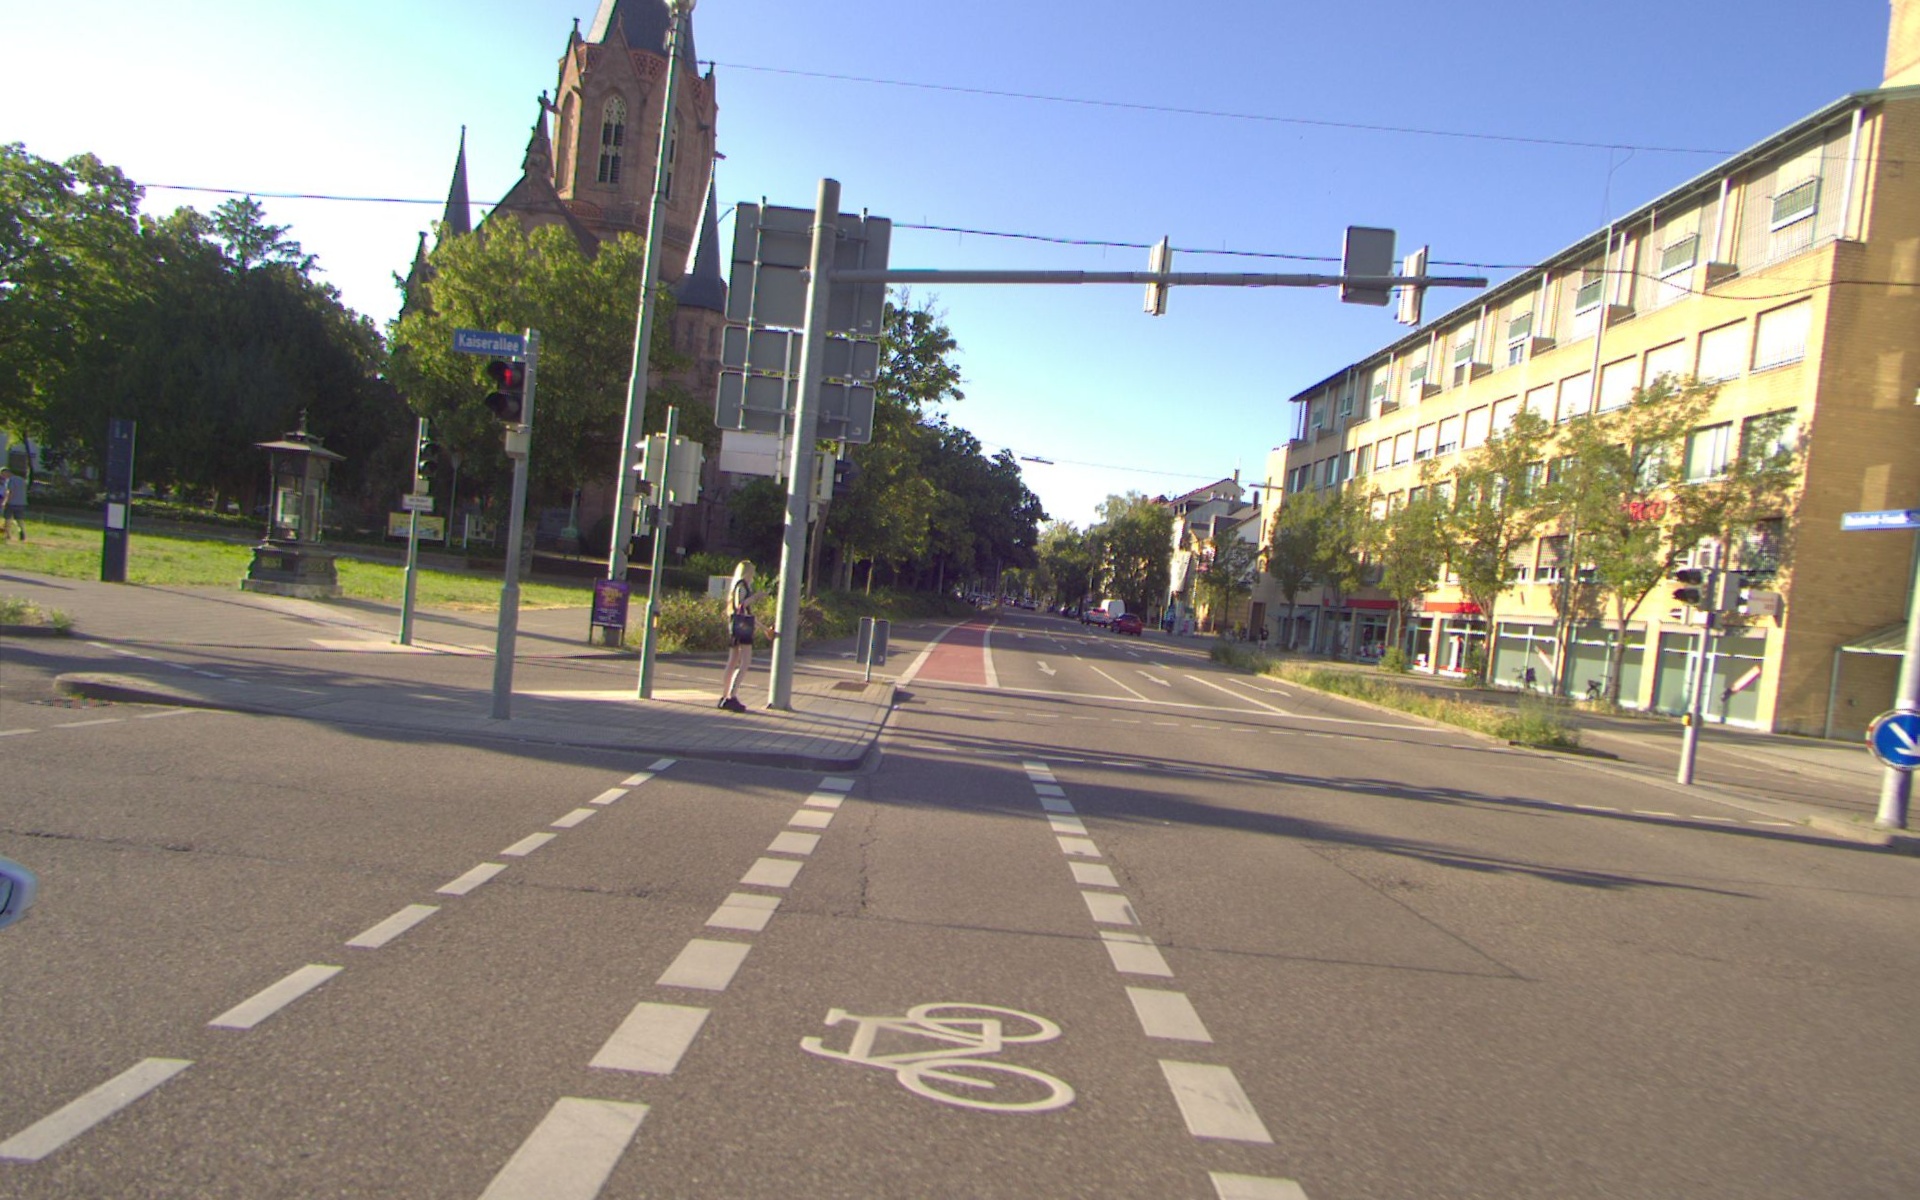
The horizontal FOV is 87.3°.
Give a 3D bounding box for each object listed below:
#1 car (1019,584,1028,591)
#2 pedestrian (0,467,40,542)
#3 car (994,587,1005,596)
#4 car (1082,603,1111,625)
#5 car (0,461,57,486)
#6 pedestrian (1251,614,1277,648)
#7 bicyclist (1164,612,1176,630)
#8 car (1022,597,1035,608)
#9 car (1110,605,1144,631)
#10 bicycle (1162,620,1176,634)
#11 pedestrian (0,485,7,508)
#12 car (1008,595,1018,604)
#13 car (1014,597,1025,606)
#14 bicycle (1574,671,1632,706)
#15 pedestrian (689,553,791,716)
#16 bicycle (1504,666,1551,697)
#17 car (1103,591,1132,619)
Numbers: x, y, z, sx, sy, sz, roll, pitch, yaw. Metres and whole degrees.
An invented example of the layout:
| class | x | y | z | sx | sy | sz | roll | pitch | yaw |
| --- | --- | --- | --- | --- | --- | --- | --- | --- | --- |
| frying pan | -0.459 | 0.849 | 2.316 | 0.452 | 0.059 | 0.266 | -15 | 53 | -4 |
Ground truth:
| class | x | y | z | sx | sy | sz | roll | pitch | yaw |
| --- | --- | --- | --- | --- | --- | --- | --- | --- | --- |
| car | 13.351 | -2.688 | 211.322 | 1.570 | 1.284 | 3.264 | 6 | 1 | 0 |
| pedestrian | -23.347 | -2.375 | 24.586 | 0.998 | 1.718 | 0.843 | 8 | 2 | 25 |
| car | 8.161 | -1.799 | 207.194 | 1.858 | 1.692 | 3.997 | 8 | 1 | 0 |
| car | 12.262 | 1.217 | 90.704 | 1.887 | 1.628 | 4.266 | 8 | 1 | 0 |
| car | -83.357 | -11.307 | 89.170 | 4.390 | 1.592 | 1.995 | 6 | 1 | -12 |
| pedestrian | 19.481 | 1.979 | 64.586 | 1.090 | 2.002 | 1.160 | 6 | 2 | 0 |
| bicyclist | 17.155 | 1.733 | 82.306 | 0.583 | 1.387 | 0.929 | 8 | 3 | 0 |
| car | 10.179 | 0.356 | 148.903 | 1.570 | 1.284 | 3.264 | 6 | 1 | 0 |
| car | 12.001 | 1.271 | 72.462 | 1.644 | 1.481 | 3.997 | 8 | 1 | 0 |
| bicycle | 17.082 | 2.239 | 82.348 | 0.583 | 0.955 | 1.976 | 8 | 2 | 0 |
| pedestrian | -42.674 | -4.601 | 44.117 | 0.793 | 0.966 | 1.168 | 7 | 2 | -21 |
| car | 9.771 | -0.097 | 186.018 | 1.570 | 1.284 | 3.264 | 6 | 1 | 0 |
| car | 9.860 | 0.181 | 167.949 | 1.570 | 1.284 | 3.264 | 6 | 1 | 0 |
| bicycle | 23.211 | 3.178 | 36.372 | 0.636 | 1.007 | 2.079 | 6 | 1 | -1 |
| pedestrian | -2.572 | 0.385 | 11.843 | 0.797 | 1.762 | 0.967 | 6 | 2 | 1 |
| bicycle | 23.168 | 3.305 | 41.117 | 0.636 | 1.007 | 2.079 | 6 | 1 | -1 |
| car | 15.712 | 0.460 | 100.695 | 1.963 | 2.471 | 3.997 | 8 | 1 | 0 |
